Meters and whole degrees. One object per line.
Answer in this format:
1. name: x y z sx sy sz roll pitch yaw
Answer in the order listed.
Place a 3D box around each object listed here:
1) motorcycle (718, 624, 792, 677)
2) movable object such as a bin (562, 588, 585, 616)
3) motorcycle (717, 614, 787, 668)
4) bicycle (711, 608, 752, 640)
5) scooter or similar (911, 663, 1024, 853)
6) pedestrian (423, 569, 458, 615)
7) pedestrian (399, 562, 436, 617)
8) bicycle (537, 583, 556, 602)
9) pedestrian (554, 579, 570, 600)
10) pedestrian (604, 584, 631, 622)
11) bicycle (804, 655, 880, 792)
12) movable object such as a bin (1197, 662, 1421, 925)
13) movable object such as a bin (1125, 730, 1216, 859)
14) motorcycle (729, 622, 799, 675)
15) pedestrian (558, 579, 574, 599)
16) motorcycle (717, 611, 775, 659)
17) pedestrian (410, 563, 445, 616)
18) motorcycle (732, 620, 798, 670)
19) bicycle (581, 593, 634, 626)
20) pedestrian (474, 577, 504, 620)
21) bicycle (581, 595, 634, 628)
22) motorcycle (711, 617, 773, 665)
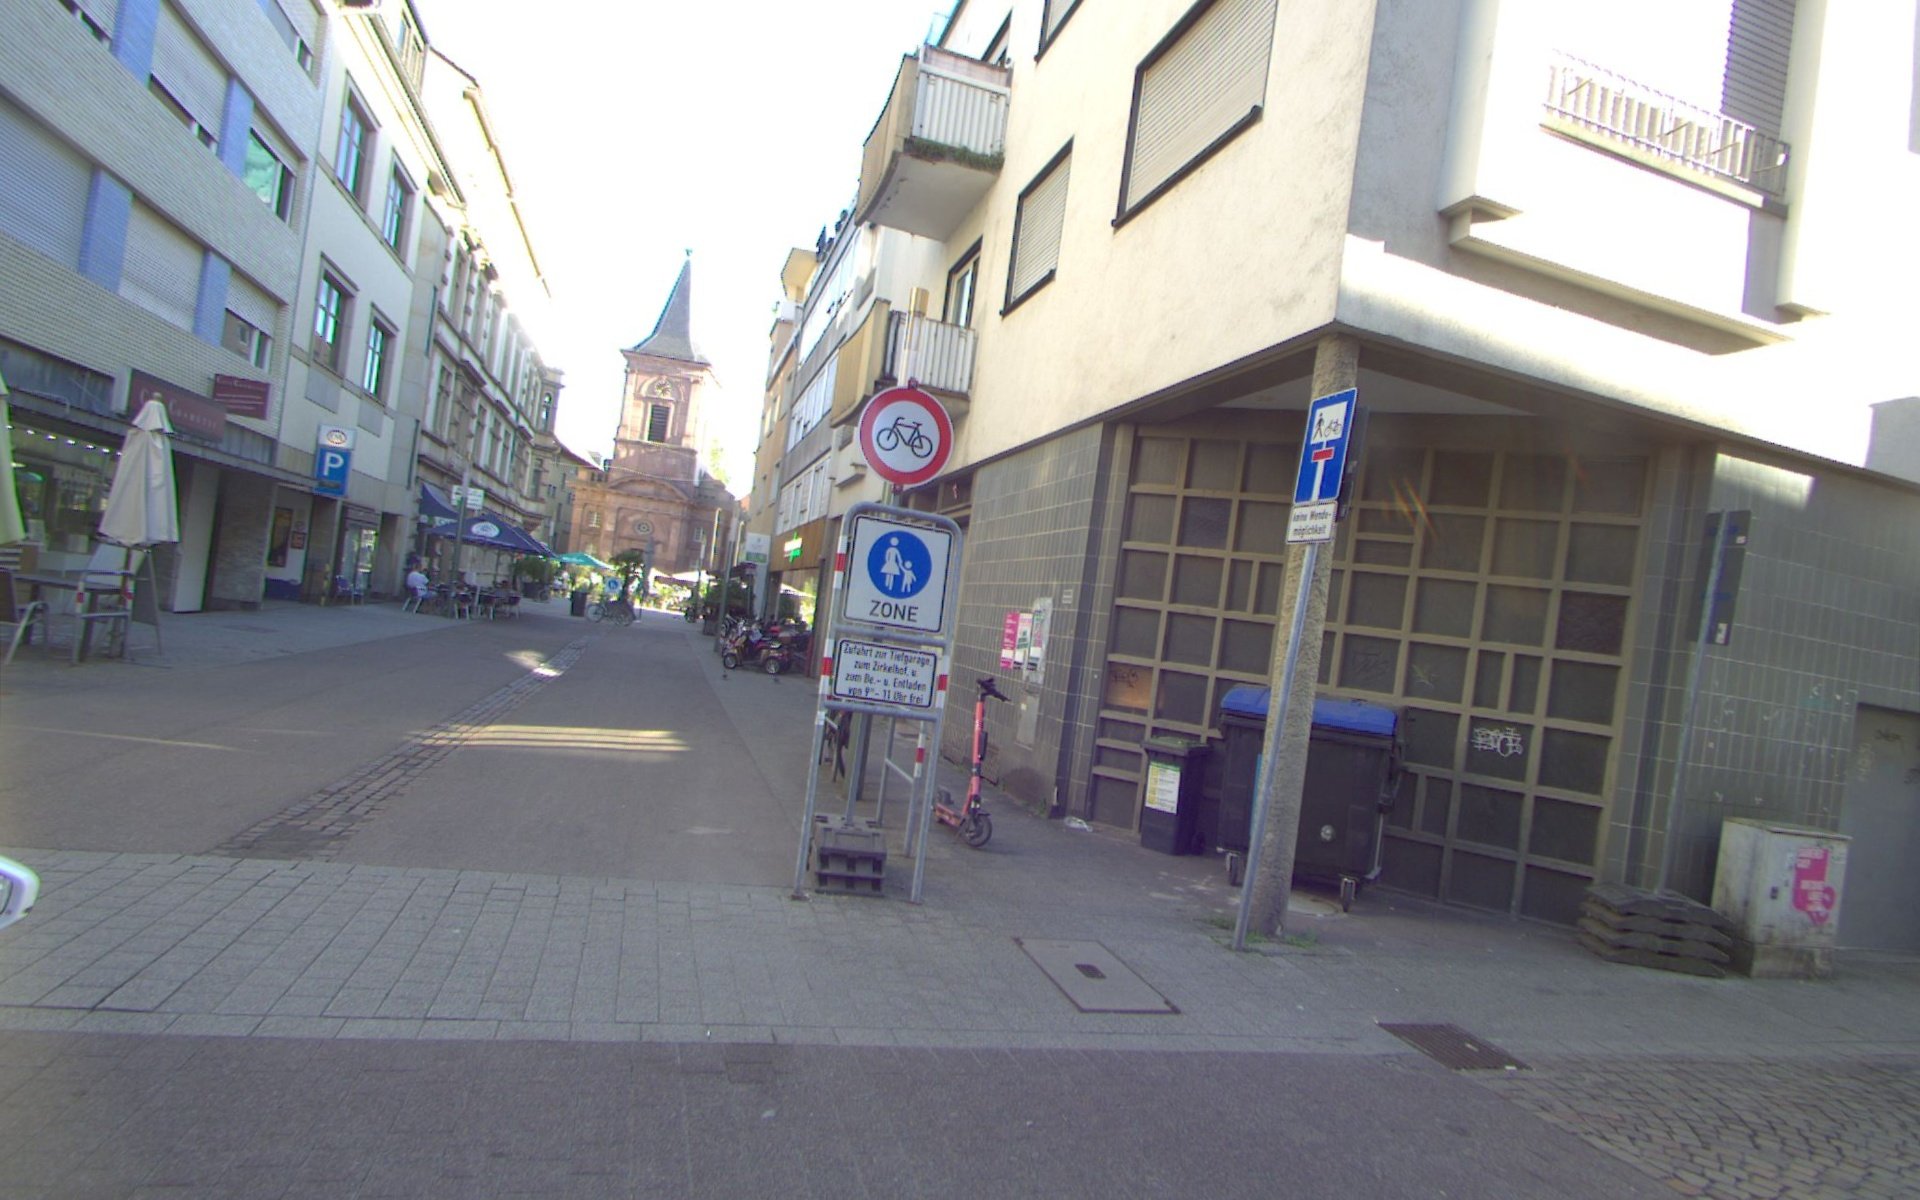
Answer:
1. motorcycle: -4.774 1.174 23.470 1.540 1.054 0.373 7 -1 1
2. movable object such as a bin: -15.806 0.082 41.153 0.713 1.087 0.373 8 0 -19
3. motorcycle: -5.449 1.074 26.345 1.599 1.189 0.480 7 -1 1
4. bicycle: -8.951 0.940 39.495 1.444 1.016 0.572 8 -1 -10
5. scooter or similar: 0.031 1.179 7.828 0.304 1.267 1.234 8 -1 -20
6. pedestrian: -15.433 -0.240 29.912 0.758 1.247 0.826 8 -1 -25
7. pedestrian: -14.712 -0.299 27.287 0.702 1.384 0.714 8 -1 -29
8. bicycle: -20.274 -0.354 49.341 0.451 0.859 2.141 8 -1 -13
9. pedestrian: -24.783 -0.635 62.677 0.691 1.232 0.718 8 -1 -11
10. pedestrian: -14.575 0.113 42.850 0.873 1.481 0.728 8 -1 -17
11. bicycle: -1.201 1.176 10.002 0.441 1.152 1.707 8 -3 -12
12. movable object such as a bin: 2.655 1.361 7.582 1.269 1.609 1.154 7 0 28
13. movable object such as a bin: 1.764 1.603 8.401 0.532 0.934 0.513 7 -1 26
14. motorcycle: -4.738 1.161 24.338 1.493 1.088 0.412 7 -1 1
15. pedestrian: -25.089 -0.696 64.074 0.691 1.232 0.718 8 -1 -11
16. motorcycle: -6.158 1.018 28.991 1.461 1.195 0.412 7 -1 -2
17. pedestrian: -14.933 -0.304 28.224 0.712 1.384 0.705 8 -1 -29
18. motorcycle: -4.886 1.130 25.283 1.461 1.088 0.412 7 -1 1
19. bicycle: -13.596 0.380 38.823 1.805 1.016 0.379 8 -1 -21
20. pedestrian: -14.521 -0.061 31.042 0.686 1.229 0.580 8 -1 -25
21. bicycle: -13.475 0.447 38.446 1.805 1.016 0.379 8 -1 -21
22. motorcycle: -5.878 1.105 27.148 1.461 1.088 0.412 7 -1 1
